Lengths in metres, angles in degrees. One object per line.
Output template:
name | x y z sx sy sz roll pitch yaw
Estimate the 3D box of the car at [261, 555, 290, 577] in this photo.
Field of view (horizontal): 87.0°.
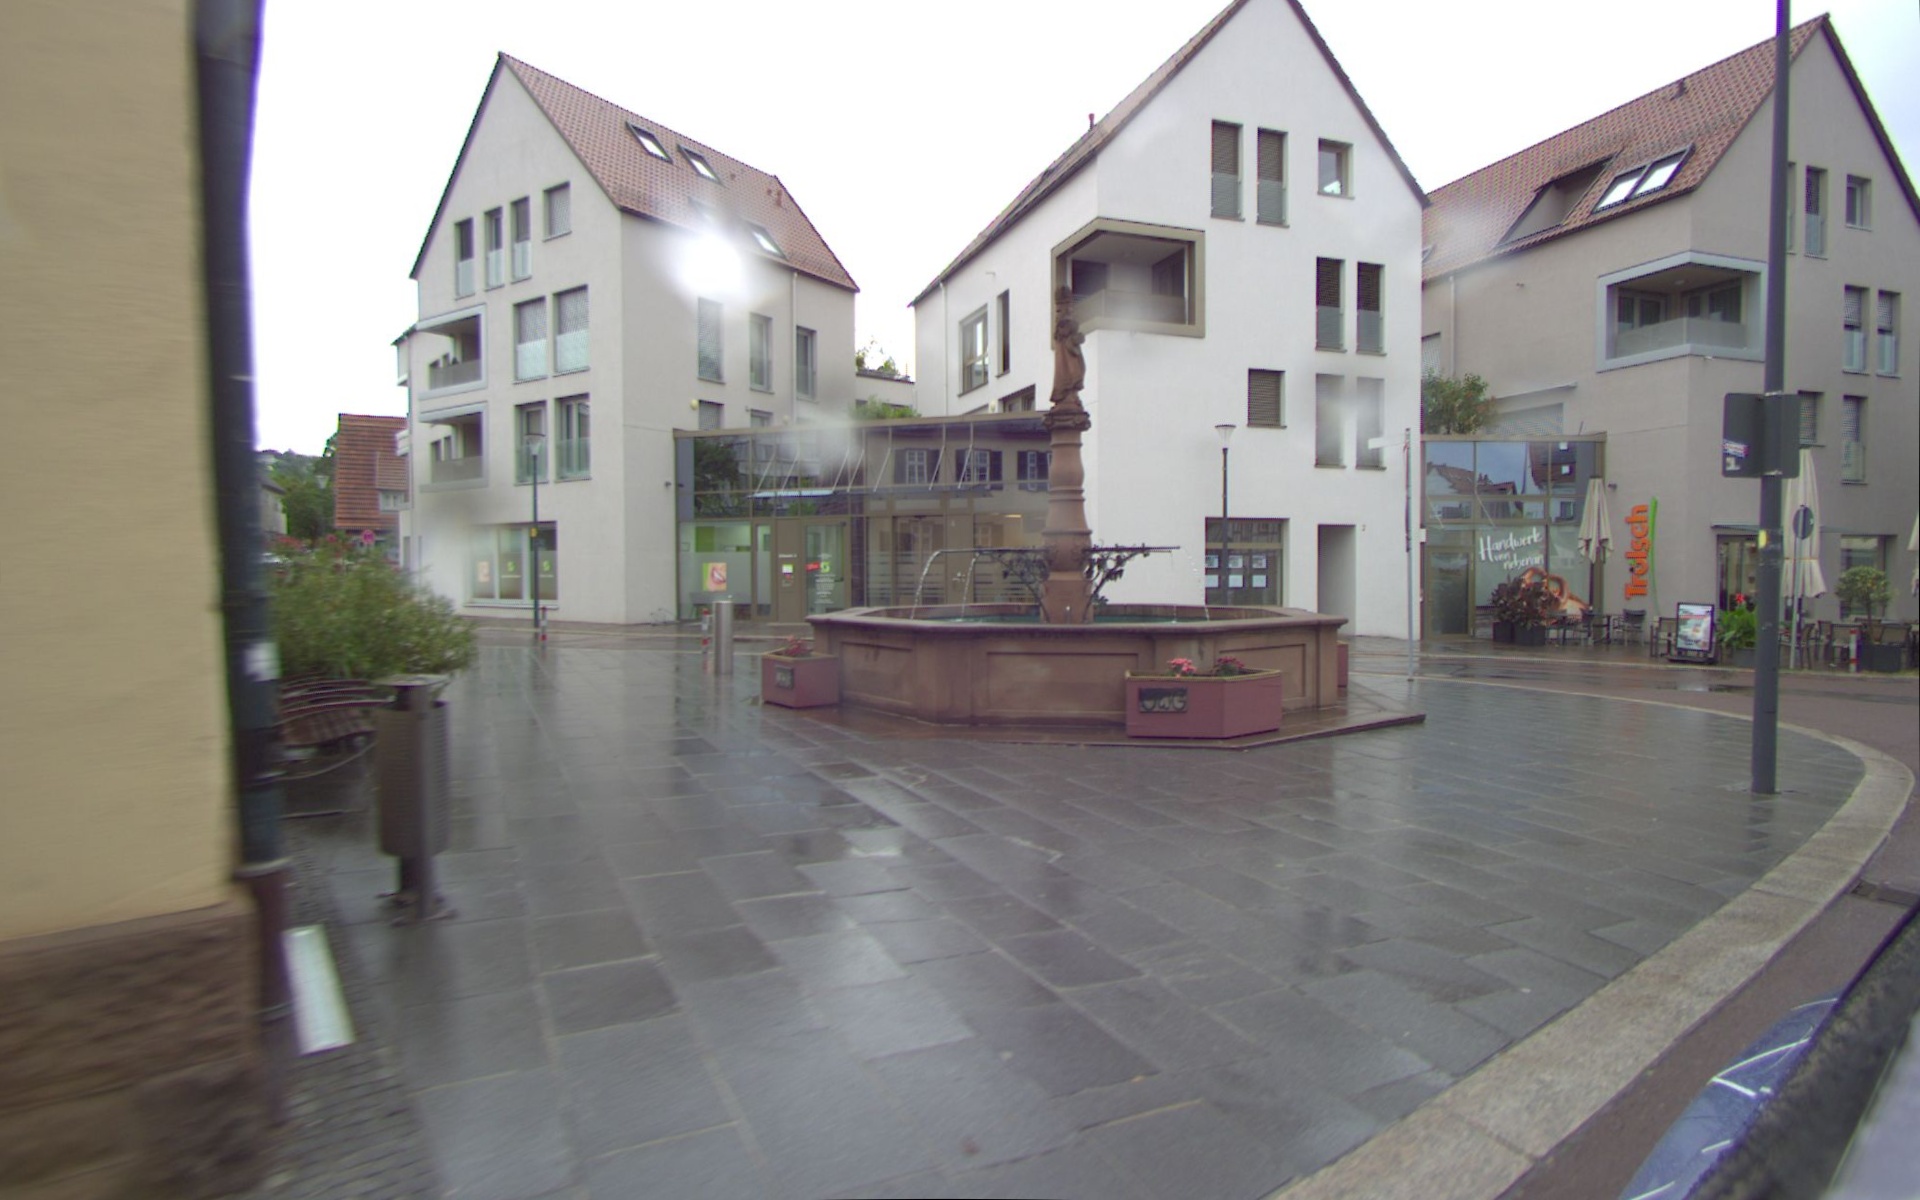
car | -50.656 -2.513 74.887 1.641 1.571 3.606 -1 2 -36
